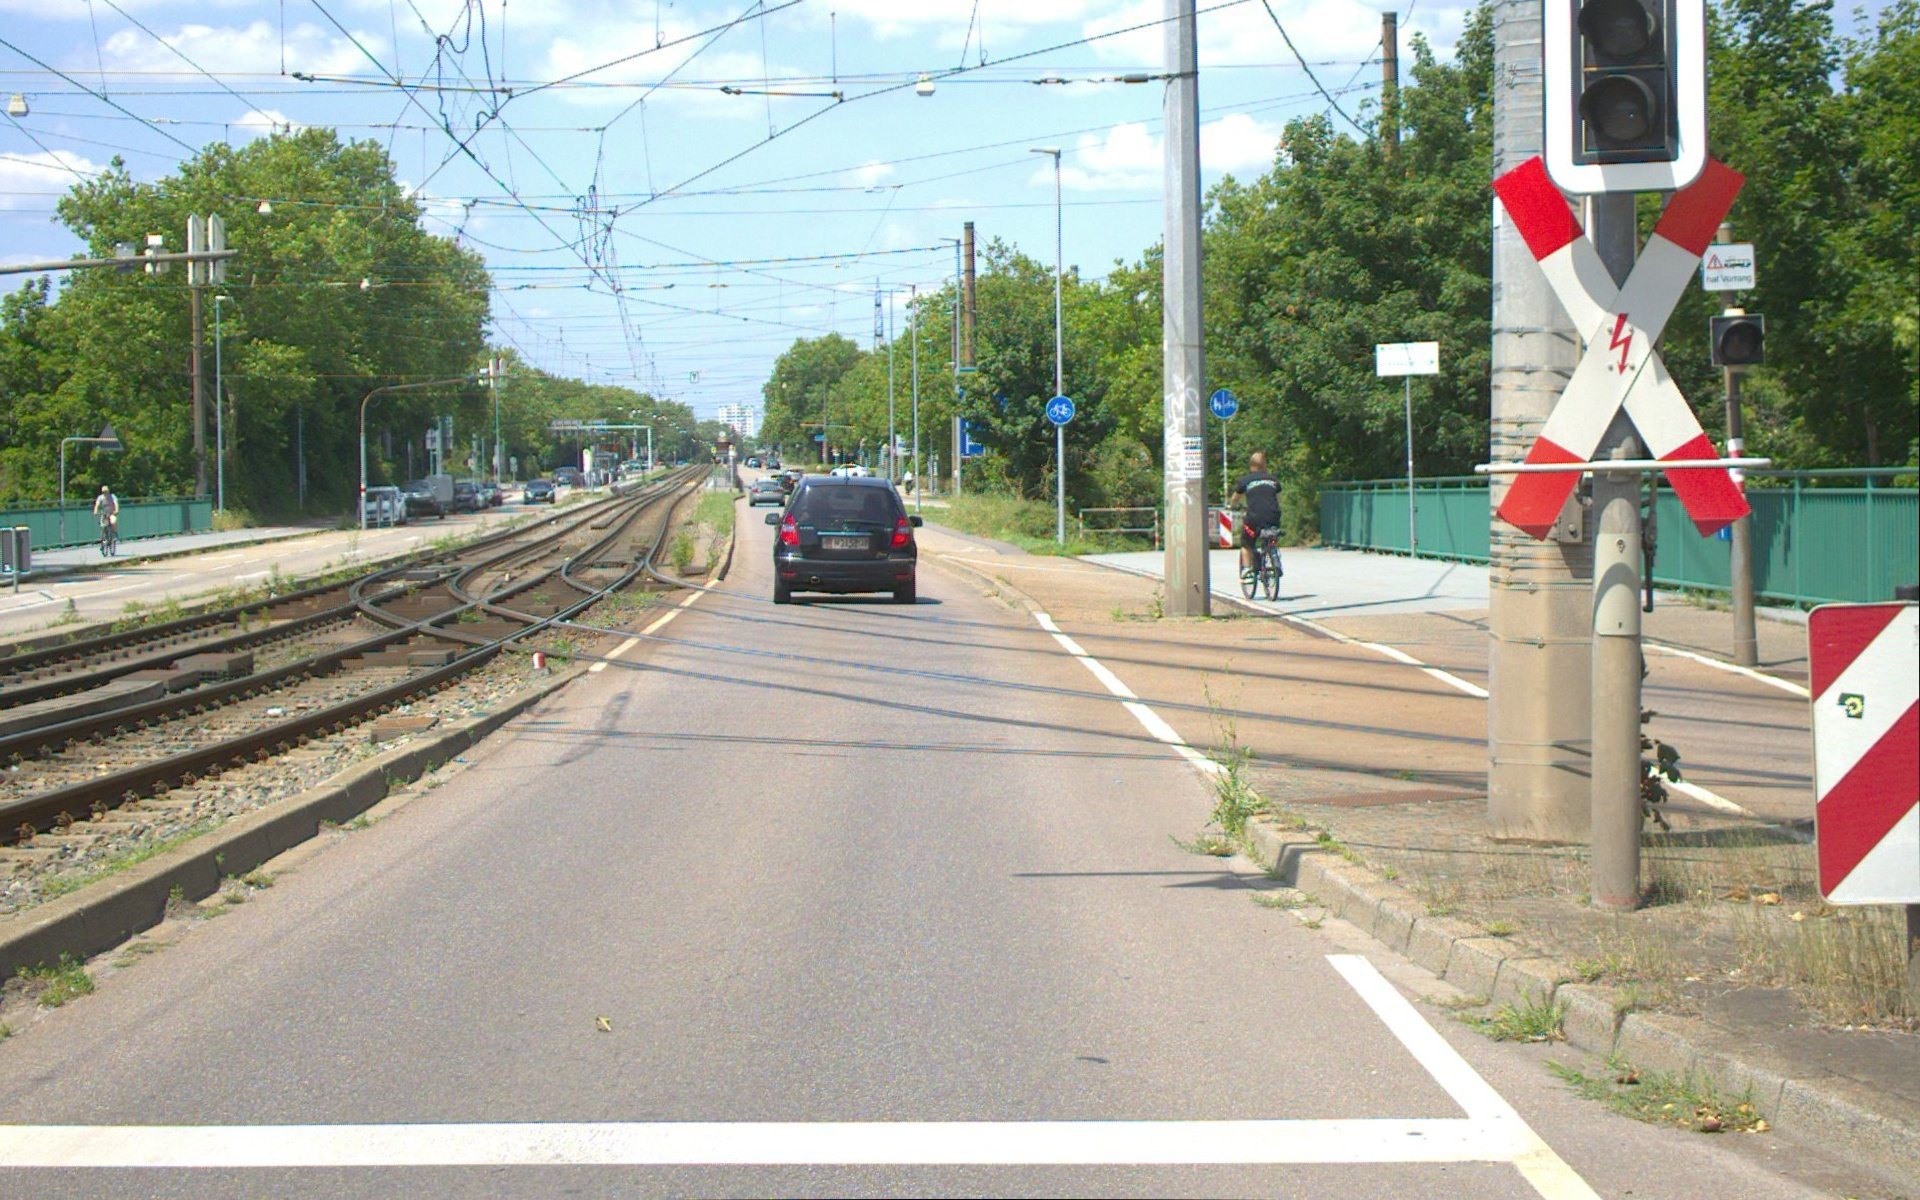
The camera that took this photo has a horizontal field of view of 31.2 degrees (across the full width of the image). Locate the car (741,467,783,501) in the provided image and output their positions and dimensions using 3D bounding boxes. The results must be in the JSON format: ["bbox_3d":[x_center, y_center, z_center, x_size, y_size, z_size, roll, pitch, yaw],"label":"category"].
[{"bbox_3d":[-10.488,-6.157,182.561,1.885,1.634,4.001,3,3,0],"label":"car"}]

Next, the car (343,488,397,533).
[{"bbox_3d":[-24.622,-3.748,143.633,1.719,1.625,4.618,-4,4,-5],"label":"car"}]

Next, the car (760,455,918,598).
[{"bbox_3d":[-1.483,-0.972,43.459,1.853,1.564,4.389,0,4,0],"label":"car"}]

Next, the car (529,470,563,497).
[{"bbox_3d":[-26.205,-7.384,217.800,1.875,1.714,5.332,0,2,-4],"label":"car"}]

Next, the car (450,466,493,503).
[{"bbox_3d":[-27.384,-6.471,192.765,1.993,2.007,4.001,-1,1,-3],"label":"car"}]

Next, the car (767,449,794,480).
[{"bbox_3d":[-12.226,-9.257,234.448,1.786,2.006,4.001,0,3,-4],"label":"car"}]

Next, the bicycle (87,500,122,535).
[{"bbox_3d":[-21.348,-2.061,85.841,0.469,0.865,1.743,0,2,-1],"label":"bicycle"}]

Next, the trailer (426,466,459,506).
[{"bbox_3d":[-27.029,-5.964,179.617,1.609,2.006,3.917,0,3,-7],"label":"trailer"}]

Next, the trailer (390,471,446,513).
[{"bbox_3d":[-25.082,-5.037,159.263,2.461,1.882,5.964,0,2,-8],"label":"trailer"}]

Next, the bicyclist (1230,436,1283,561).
[{"bbox_3d":[3.587,-1.238,41.615,0.585,1.489,0.558,1,3,1],"label":"bicyclist"}]

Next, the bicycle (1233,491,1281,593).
[{"bbox_3d":[3.587,-0.715,41.588,0.432,1.148,1.855,1,3,1],"label":"bicycle"}]

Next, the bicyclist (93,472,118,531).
[{"bbox_3d":[-21.346,-2.463,85.880,0.456,1.469,0.633,0,2,-1],"label":"bicyclist"}]
